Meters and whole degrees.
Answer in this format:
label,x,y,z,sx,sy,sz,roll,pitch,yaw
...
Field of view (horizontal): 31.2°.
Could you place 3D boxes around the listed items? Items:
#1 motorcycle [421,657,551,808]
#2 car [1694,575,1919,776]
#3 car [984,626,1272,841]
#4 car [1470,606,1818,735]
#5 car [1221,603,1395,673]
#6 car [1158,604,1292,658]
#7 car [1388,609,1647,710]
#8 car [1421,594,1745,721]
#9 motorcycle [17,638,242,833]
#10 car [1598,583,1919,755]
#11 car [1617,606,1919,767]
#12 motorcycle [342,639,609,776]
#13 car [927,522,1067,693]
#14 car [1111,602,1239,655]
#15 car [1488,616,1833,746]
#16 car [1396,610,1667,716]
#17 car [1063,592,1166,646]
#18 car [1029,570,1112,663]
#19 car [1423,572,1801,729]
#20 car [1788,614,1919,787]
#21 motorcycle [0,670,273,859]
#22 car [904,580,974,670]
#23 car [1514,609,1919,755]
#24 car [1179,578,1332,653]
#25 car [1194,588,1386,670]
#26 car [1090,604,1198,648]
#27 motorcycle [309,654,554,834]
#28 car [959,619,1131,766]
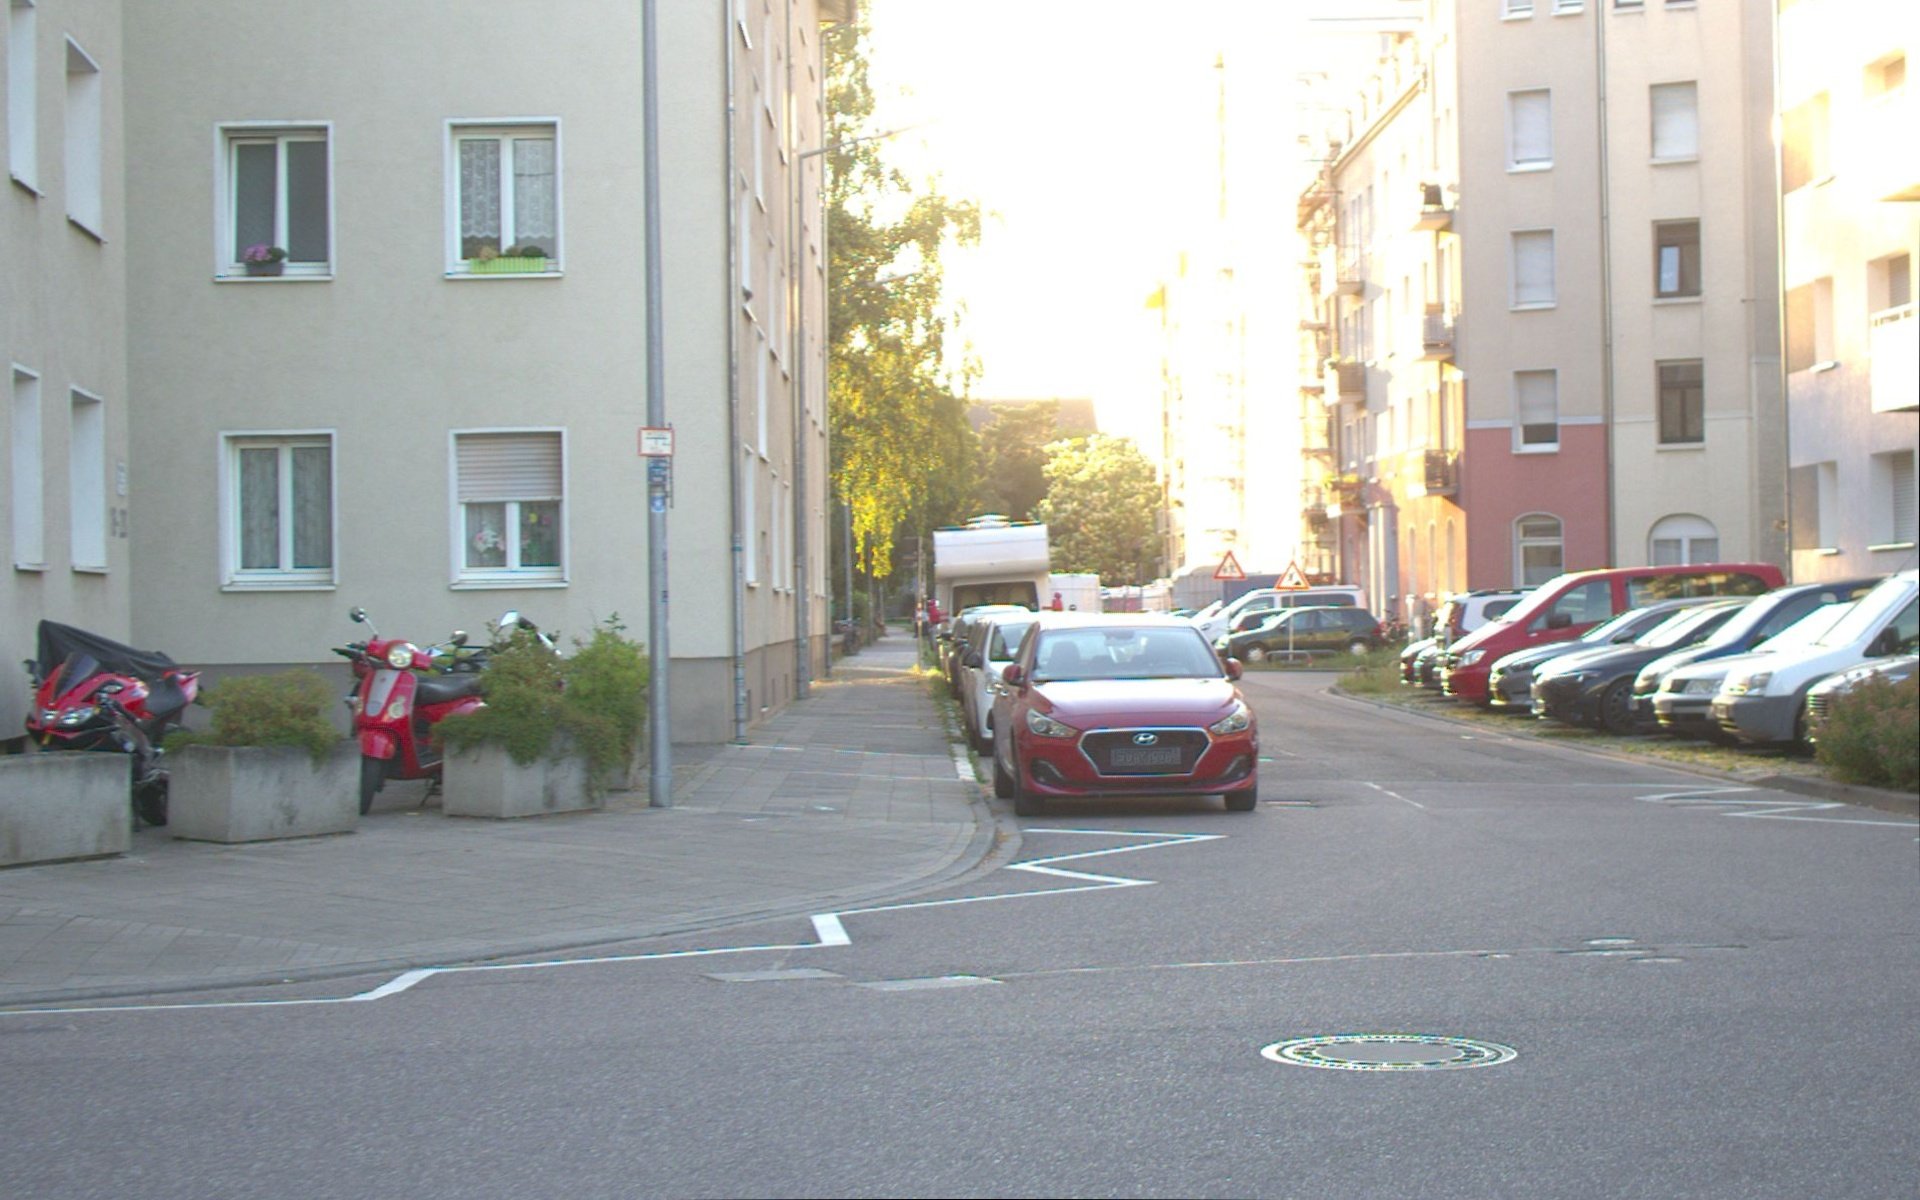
label,x,y,z,sx,sy,sz,roll,pitch,yaw
motorcycle,-3.621,0.995,26.415,0.682,1.075,2.034,-1,0,1
car,9.397,0.694,33.047,4.279,1.854,1.741,-1,-1,0
car,1.202,0.956,26.370,1.845,1.468,4.078,-1,0,-2
car,8.897,0.914,44.950,4.145,1.466,1.636,-3,-1,-1
car,8.451,0.917,83.758,3.987,1.525,1.659,-2,0,-1
car,8.294,0.976,107.724,3.987,1.525,1.659,-2,0,-1
car,8.944,0.953,55.349,3.811,1.423,1.634,-3,-1,-1
car,9.085,0.833,50.345,4.323,1.632,1.818,-3,-1,-1
motorcycle,-5.712,0.911,23.768,0.723,1.260,2.080,-1,0,10
car,9.039,0.726,37.477,3.791,1.690,1.655,-3,-1,0
car,8.871,0.855,35.102,3.955,1.517,1.706,-2,0,0
motorcycle,-4.023,0.889,28.559,2.124,1.101,0.560,-1,0,11
car,0.728,0.150,71.680,2.620,3.258,7.696,-3,0,0
car,6.985,0.923,111.984,3.987,1.525,1.659,-2,0,-1
car,8.704,0.996,42.883,3.874,1.411,1.636,-3,-1,-2
car,8.750,0.964,52.829,3.811,1.423,1.634,-3,-1,-1
car,7.512,0.903,166.973,4.813,2.400,1.739,-2,0,-1
car,3.399,0.513,106.558,2.128,2.708,4.833,-3,0,-2
car,8.954,0.686,47.488,4.722,1.903,2.059,-3,-1,-1
car,9.602,0.853,30.889,3.872,1.487,1.741,-1,0,0
motorcycle,-5.179,1.002,21.519,0.724,1.075,2.079,-1,0,20
car,-0.638,0.699,98.909,1.769,2.437,5.145,-3,0,-2
car,8.685,0.930,39.522,4.308,1.445,1.655,-3,-1,0
car,8.319,0.444,97.029,3.986,2.007,2.000,-1,0,-4
car,8.696,0.760,90.811,4.813,1.961,1.739,-2,0,-1
car,7.109,1.015,132.980,3.987,1.525,1.659,-2,0,-1
motorcycle,-3.648,0.975,23.921,0.689,1.156,2.031,-1,0,24
car,0.889,0.978,37.792,1.615,1.468,3.505,-3,0,-2
